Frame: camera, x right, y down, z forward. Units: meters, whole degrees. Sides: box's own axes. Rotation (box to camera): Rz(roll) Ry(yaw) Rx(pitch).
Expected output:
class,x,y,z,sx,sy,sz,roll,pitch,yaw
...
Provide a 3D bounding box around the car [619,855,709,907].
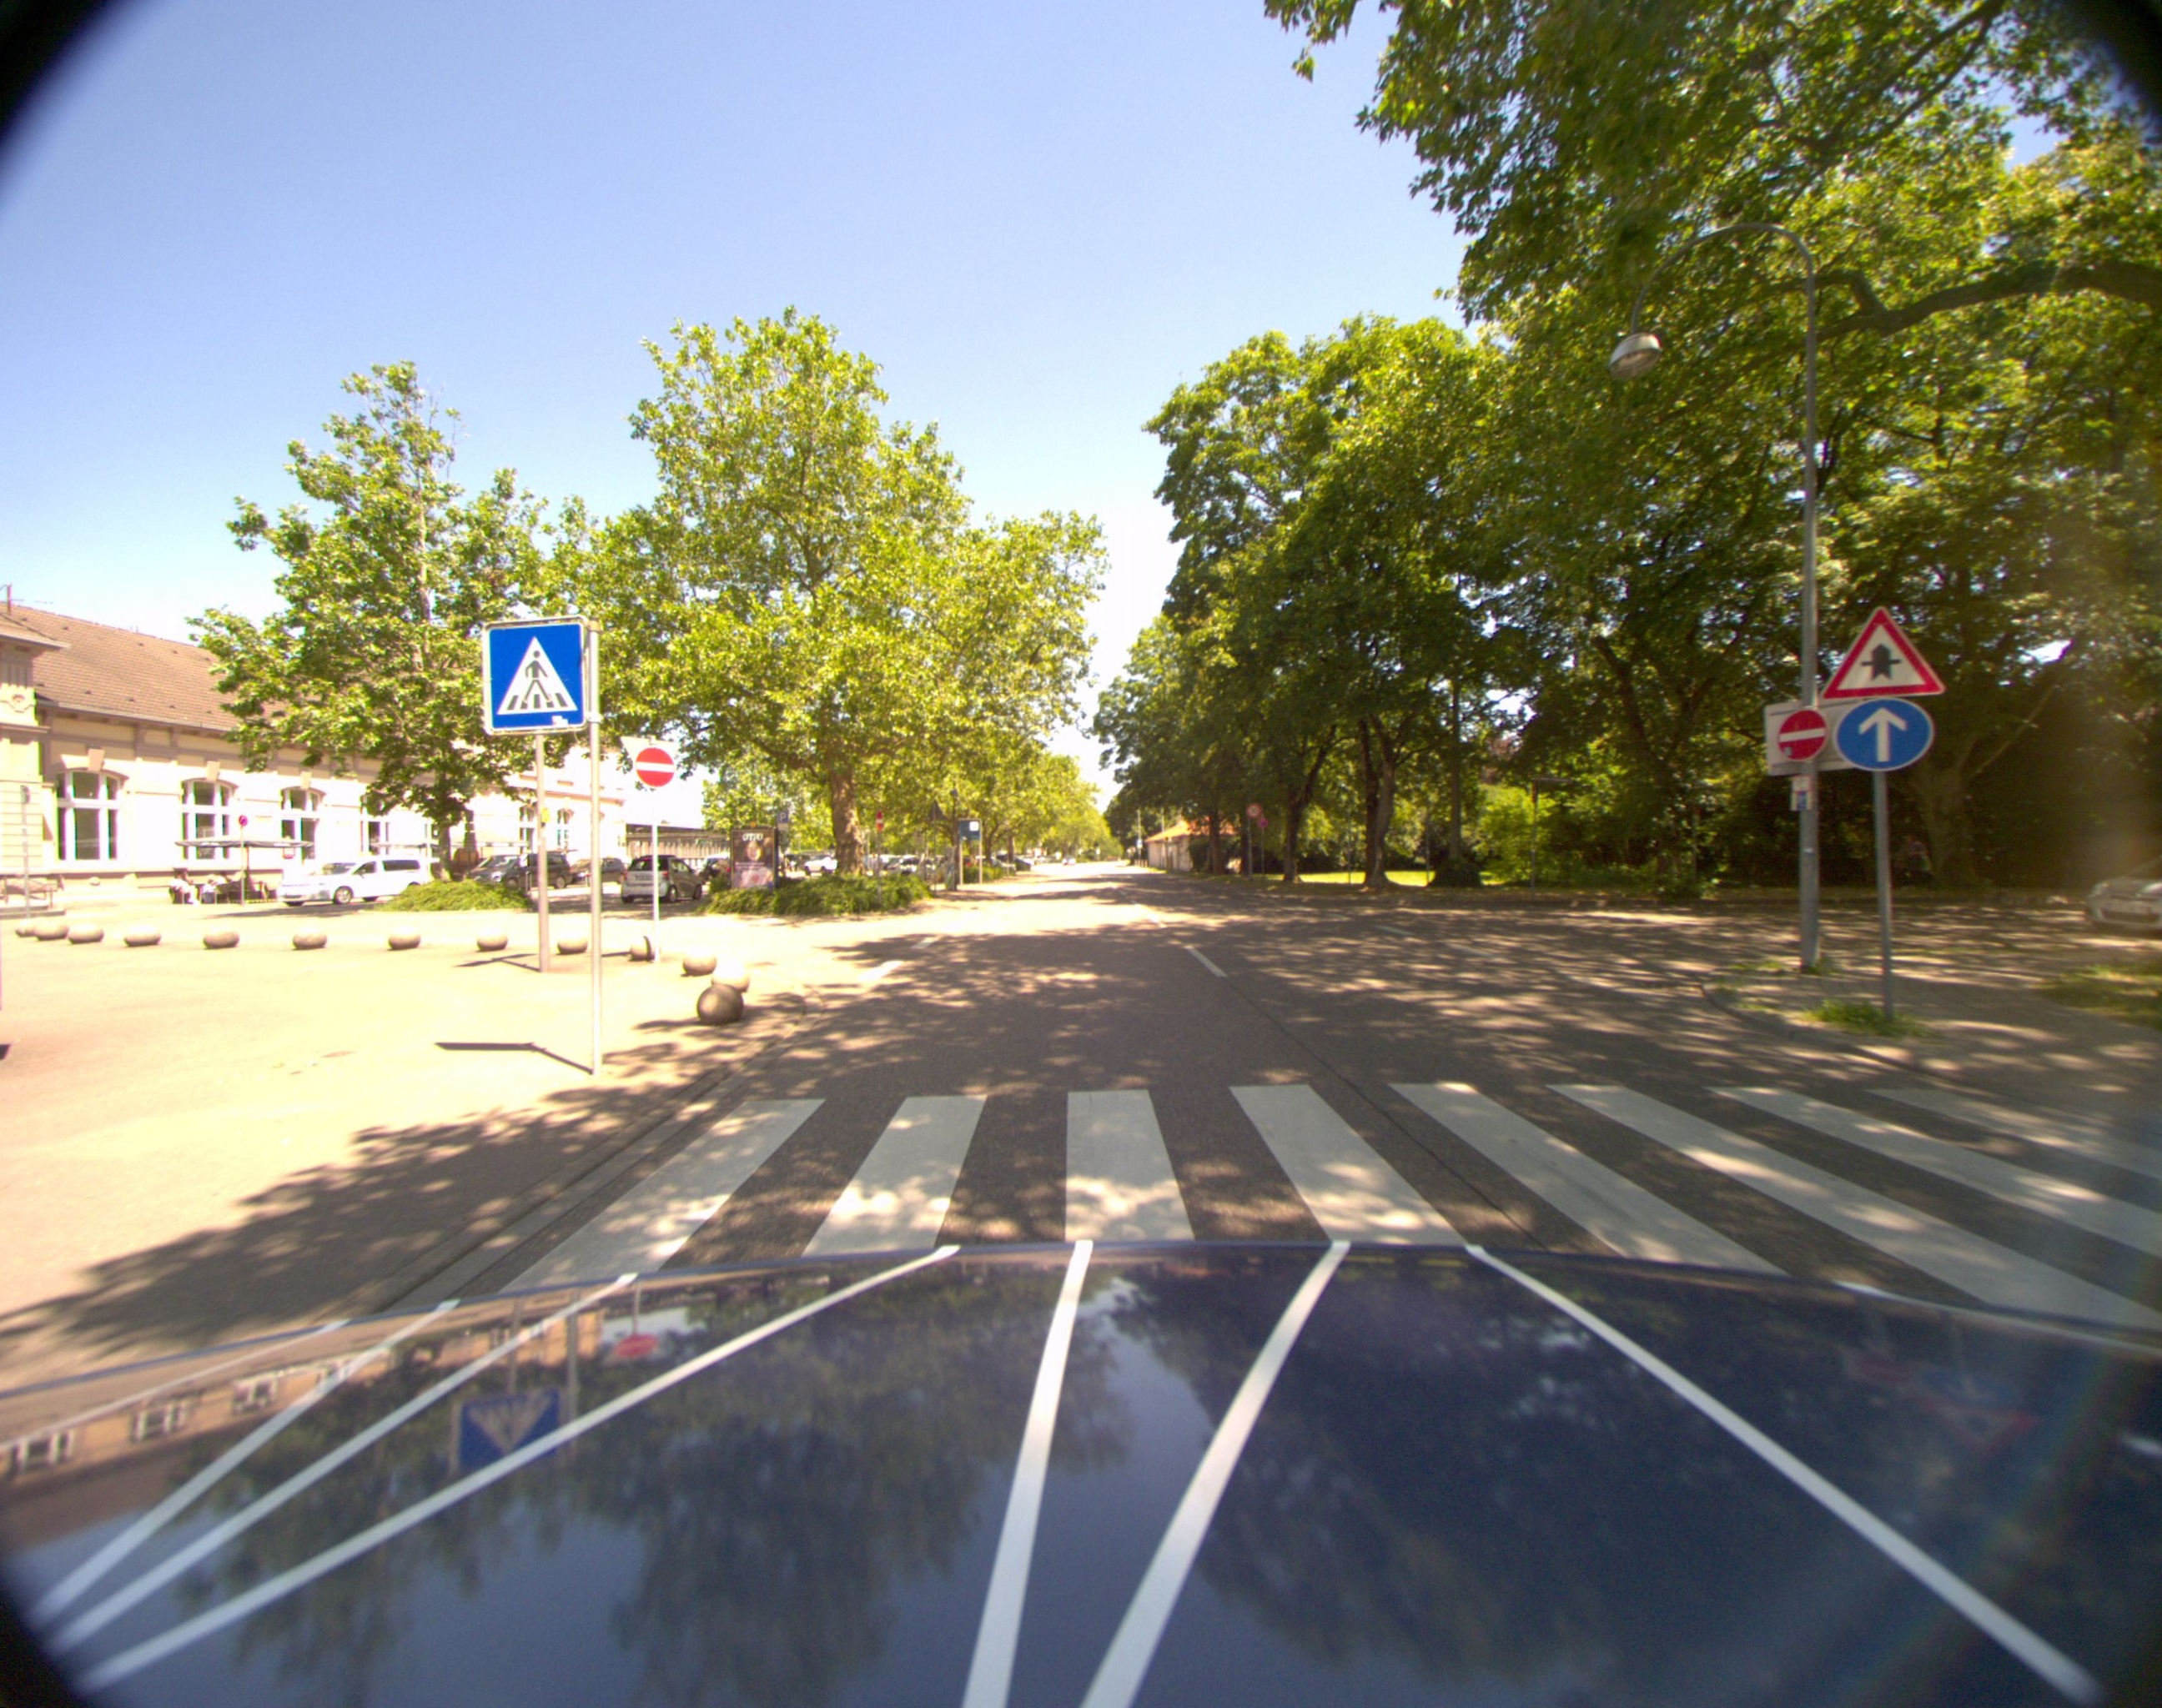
class,x,y,z,sx,sy,sz,roll,pitch,yaw
car,-14.061,0.862,25.808,1.601,1.584,3.104,-1,1,-6

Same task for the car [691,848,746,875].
class,x,y,z,sx,sy,sz,roll,pitch,yaw
car,-27.603,0.544,58.032,2.004,1.829,5.315,-3,1,-5

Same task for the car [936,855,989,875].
class,x,y,z,sx,sy,sz,roll,pitch,yaw
car,-9.502,0.854,60.999,3.882,1.452,1.633,-1,1,-29

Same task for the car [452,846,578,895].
class,x,y,z,sx,sy,sz,roll,pitch,yaw
car,-27.119,0.743,36.744,2.093,2.111,5.823,-2,0,-5

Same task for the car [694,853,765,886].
class,x,y,z,sx,sy,sz,roll,pitch,yaw
car,-18.606,0.779,40.163,4.516,1.534,1.804,1,3,43

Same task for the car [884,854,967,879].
class,x,y,z,sx,sy,sz,roll,pitch,yaw
car,-9.585,0.748,46.819,4.782,1.409,1.783,-1,1,-19

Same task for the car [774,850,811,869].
class,x,y,z,sx,sy,sz,roll,pitch,yaw
car,-29.748,0.576,78.540,1.998,1.779,4.247,-3,1,1

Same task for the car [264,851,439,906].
class,x,y,z,sx,sy,sz,roll,pitch,yaw
car,-27.516,0.878,28.964,1.814,1.855,5.138,-2,0,-3

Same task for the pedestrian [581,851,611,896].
class,x,y,z,sx,sy,sz,roll,pitch,yaw
pedestrian,-18.925,0.756,29.626,0.812,1.707,0.775,0,1,43

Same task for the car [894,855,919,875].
class,x,y,z,sx,sy,sz,roll,pitch,yaw
car,-17.641,1.100,76.682,1.741,1.882,3.992,-1,0,-24

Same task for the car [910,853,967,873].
class,x,y,z,sx,sy,sz,roll,pitch,yaw
car,-10.739,0.650,57.121,3.882,1.452,1.633,-1,1,-29

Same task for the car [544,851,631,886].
class,x,y,z,sx,sy,sz,roll,pitch,yaw
car,-27.688,0.782,42.859,2.080,1.829,4.838,-2,0,-5

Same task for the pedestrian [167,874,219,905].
class,x,y,z,sx,sy,sz,roll,pitch,yaw
pedestrian,-32.367,1.282,27.697,0.881,1.073,0.851,1,0,-4

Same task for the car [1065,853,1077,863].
class,x,y,z,sx,sy,sz,roll,pitch,yaw
car,-1.433,0.576,108.289,1.661,1.368,3.451,-4,0,-1

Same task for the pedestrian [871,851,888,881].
class,x,y,z,sx,sy,sz,roll,pitch,yaw
pedestrian,-11.938,0.701,44.998,0.840,1.760,0.850,-1,1,-21

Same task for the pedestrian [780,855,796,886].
class,x,y,z,sx,sy,sz,roll,pitch,yaw
pedestrian,-14.668,0.817,38.029,0.591,1.539,0.609,0,1,-36

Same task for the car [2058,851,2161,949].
class,x,y,z,sx,sy,sz,roll,pitch,yaw
car,18.822,0.715,12.468,3.483,1.489,1.599,-1,2,0

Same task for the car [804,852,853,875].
class,x,y,z,sx,sy,sz,roll,pitch,yaw
car,-18.874,0.670,56.748,4.051,1.596,1.804,1,3,44

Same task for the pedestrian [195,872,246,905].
class,x,y,z,sx,sy,sz,roll,pitch,yaw
pedestrian,-31.428,1.247,27.759,0.881,1.155,0.851,1,0,-4

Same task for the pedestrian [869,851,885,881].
class,x,y,z,sx,sy,sz,roll,pitch,yaw
pedestrian,-12.327,0.710,45.960,0.839,1.760,0.850,-1,1,-19

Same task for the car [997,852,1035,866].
class,x,y,z,sx,sy,sz,roll,pitch,yaw
car,-7.037,0.516,82.477,3.878,1.452,1.634,-1,1,-14
